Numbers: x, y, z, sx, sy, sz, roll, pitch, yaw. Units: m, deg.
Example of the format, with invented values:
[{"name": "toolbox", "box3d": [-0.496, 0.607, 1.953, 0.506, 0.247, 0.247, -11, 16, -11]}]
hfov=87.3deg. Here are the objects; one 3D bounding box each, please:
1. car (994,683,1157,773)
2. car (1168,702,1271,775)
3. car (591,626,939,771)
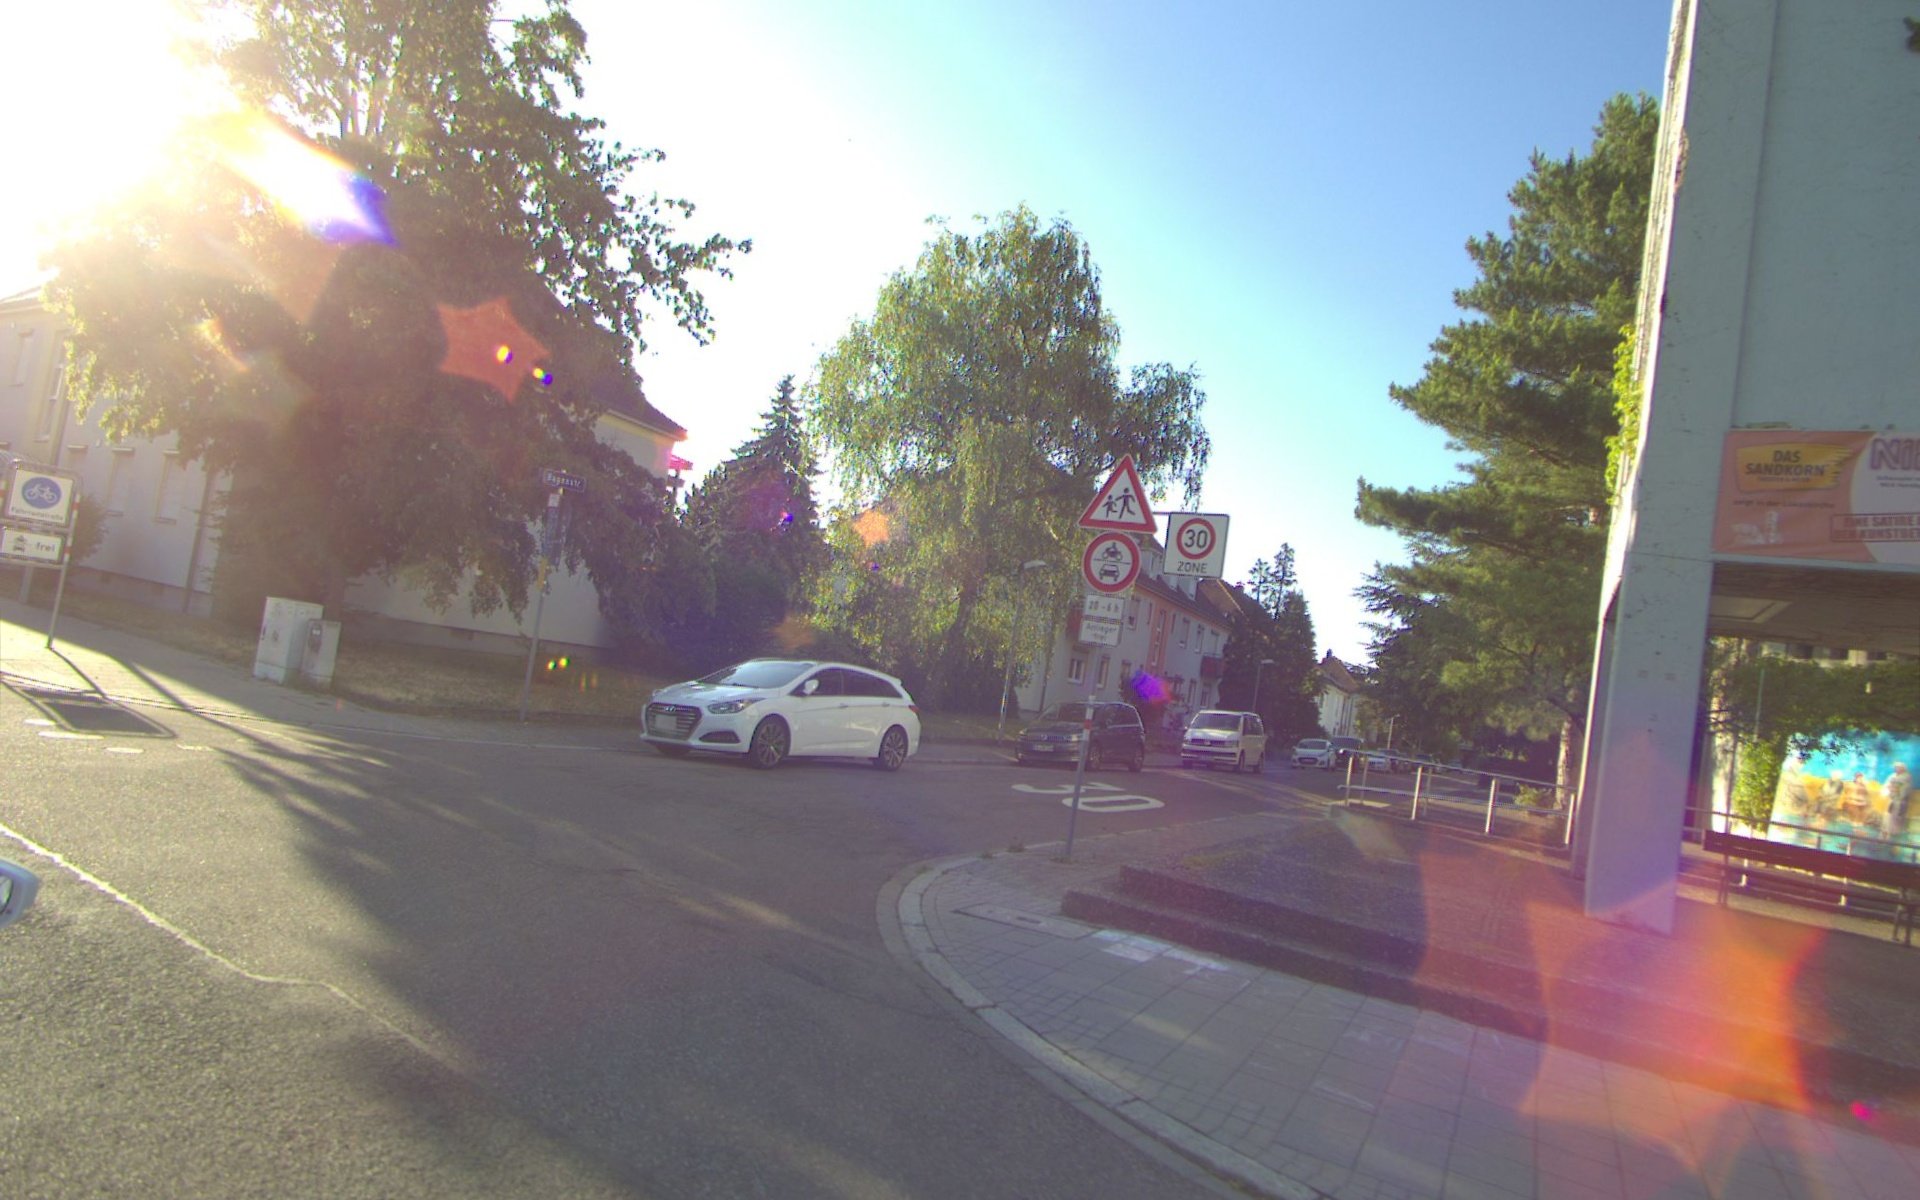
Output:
[{"name": "car", "box3d": [2.763, 3.002, 23.207, 1.968, 1.525, 4.128, 7, -5, 34]}, {"name": "car", "box3d": [8.666, 4.600, 33.244, 2.136, 1.992, 5.023, 4, -6, 27]}, {"name": "car", "box3d": [-2.441, 1.485, 14.055, 1.970, 1.500, 4.865, 3, -7, 30]}]
